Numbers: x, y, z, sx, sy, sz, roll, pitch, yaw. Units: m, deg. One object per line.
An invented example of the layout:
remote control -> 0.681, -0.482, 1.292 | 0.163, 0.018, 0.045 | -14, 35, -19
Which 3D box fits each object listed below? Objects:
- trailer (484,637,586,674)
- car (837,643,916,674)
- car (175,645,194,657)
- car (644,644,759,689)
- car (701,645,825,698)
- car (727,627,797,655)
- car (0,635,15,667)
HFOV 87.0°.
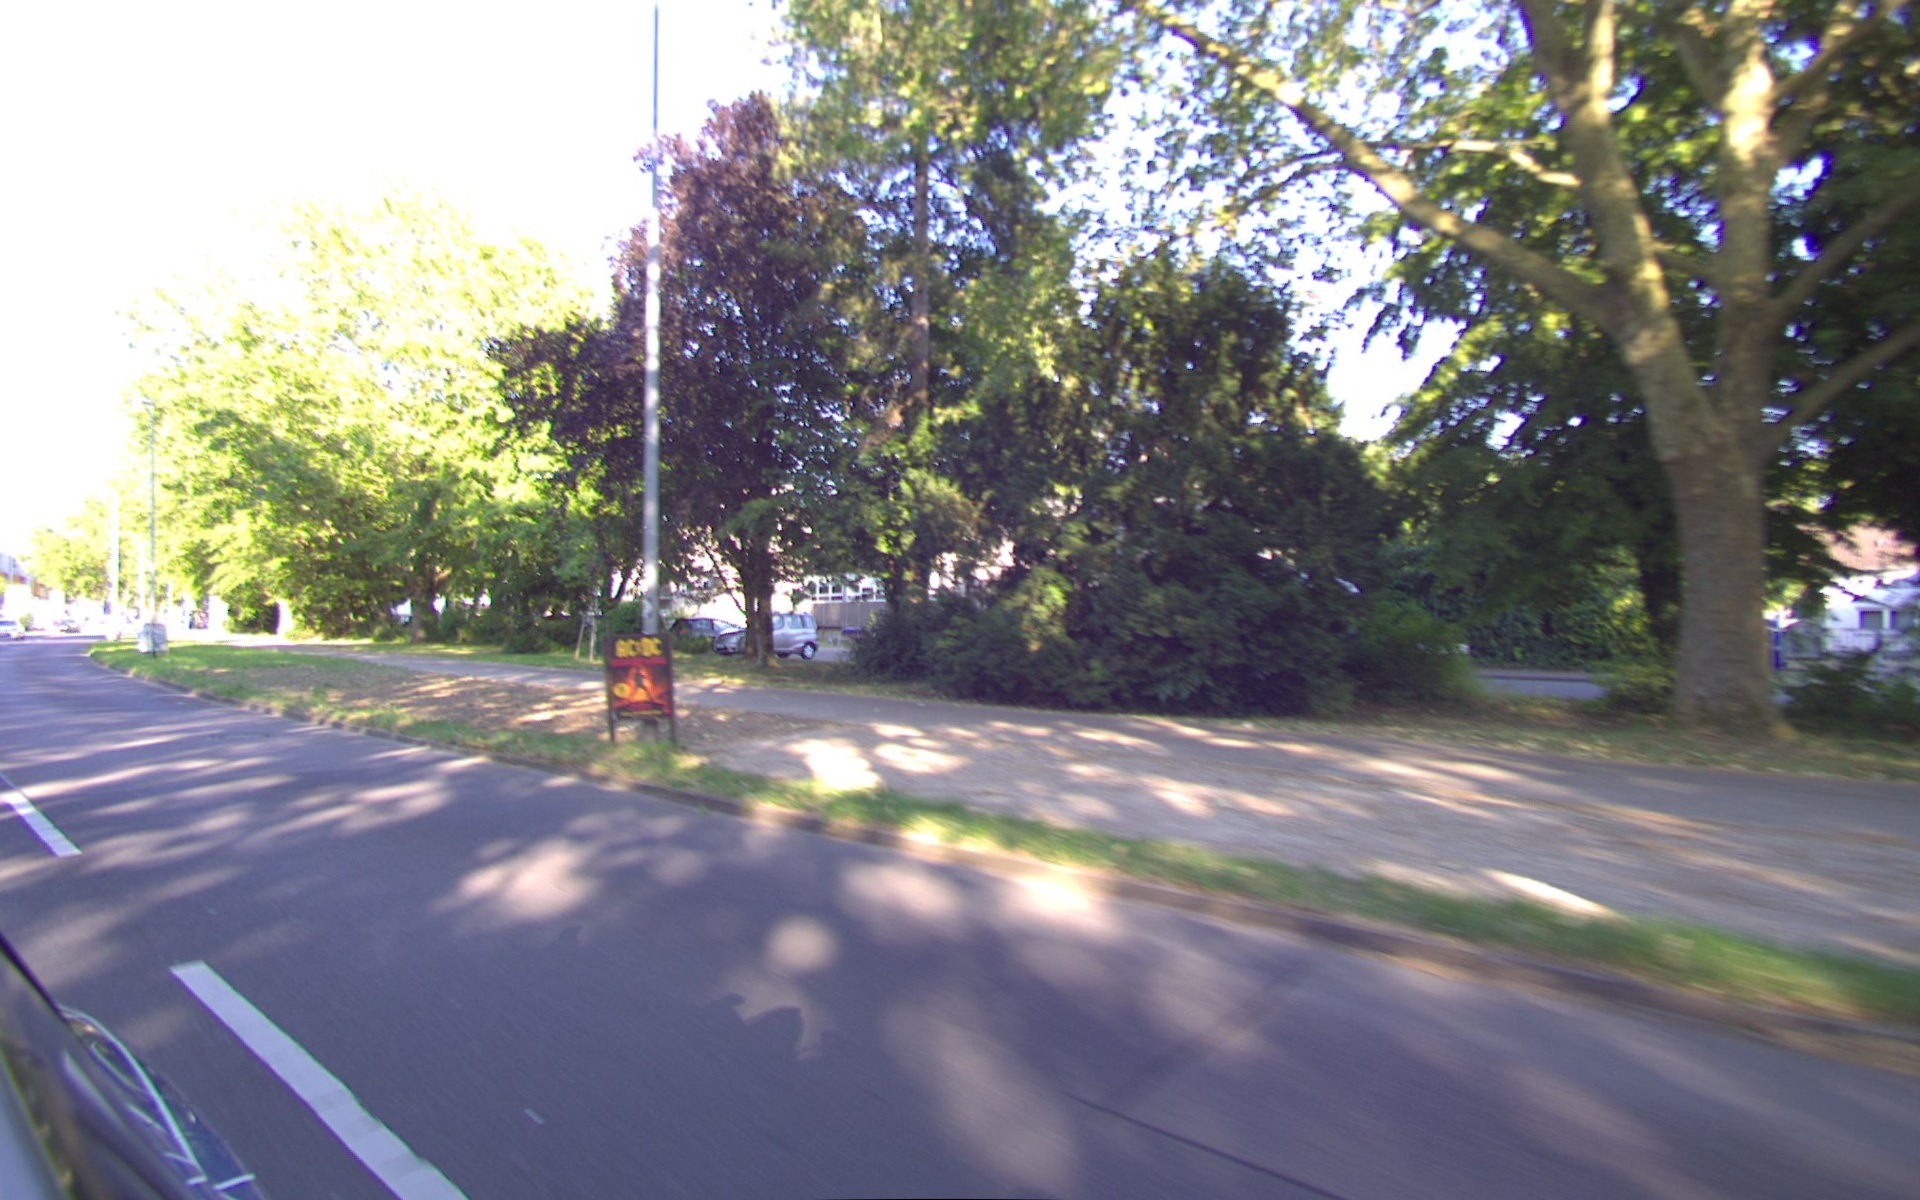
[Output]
trailer -> -19.705, 2.552, 47.033 | 3.940, 1.567, 2.001 | 1, -2, -44
car -> -4.416, 3.085, 53.769 | 1.929, 1.614, 3.944 | -2, -3, 42
car -> -107.865, 7.143, 140.802 | 1.737, 1.494, 4.119 | -2, 0, -33
car -> -9.979, 2.539, 39.238 | 1.929, 1.614, 3.944 | -2, -3, 42
car -> -6.860, 2.438, 35.543 | 1.929, 1.613, 3.945 | 0, -1, 42
car -> -12.216, 2.508, 62.610 | 1.929, 1.613, 3.944 | -1, -1, 42
car -> -64.795, 3.403, 67.981 | 1.906, 2.029, 4.004 | 1, -1, -43
